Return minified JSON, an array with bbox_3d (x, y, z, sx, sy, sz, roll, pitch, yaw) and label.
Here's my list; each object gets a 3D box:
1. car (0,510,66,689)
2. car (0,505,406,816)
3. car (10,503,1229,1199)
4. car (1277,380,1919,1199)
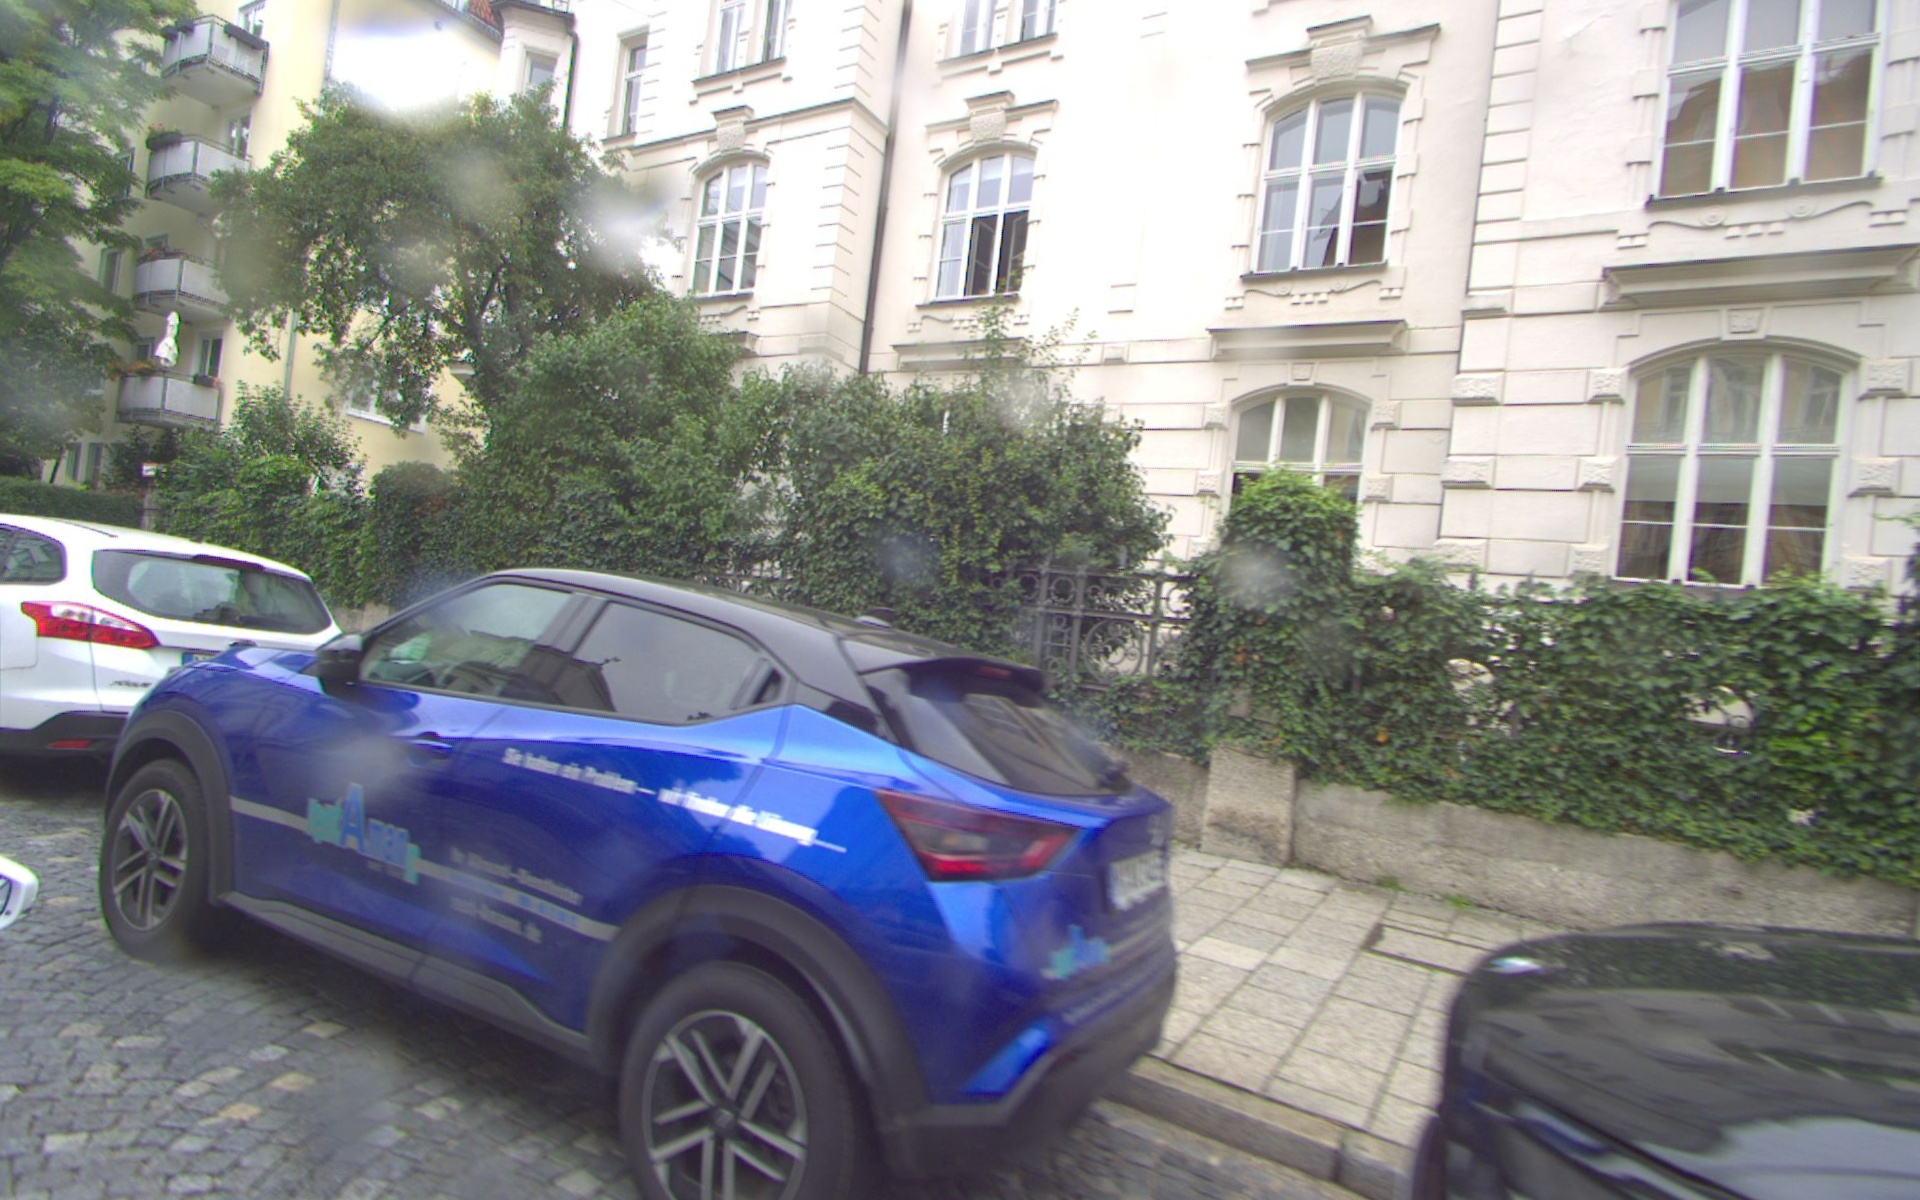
[{"bbox_3d":[-9.938,-0.236,8.985,3.900,1.468,1.688,6,-4,31],"label":"car"},{"bbox_3d":[-5.858,0.192,6.525,4.315,1.445,1.779,6,-3,28],"label":"car"},{"bbox_3d":[-1.390,0.659,3.685,4.177,1.497,1.715,6,-5,29],"label":"car"},{"bbox_3d":[3.150,0.924,0.620,5.398,1.691,1.880,6,-3,30],"label":"car"}]
